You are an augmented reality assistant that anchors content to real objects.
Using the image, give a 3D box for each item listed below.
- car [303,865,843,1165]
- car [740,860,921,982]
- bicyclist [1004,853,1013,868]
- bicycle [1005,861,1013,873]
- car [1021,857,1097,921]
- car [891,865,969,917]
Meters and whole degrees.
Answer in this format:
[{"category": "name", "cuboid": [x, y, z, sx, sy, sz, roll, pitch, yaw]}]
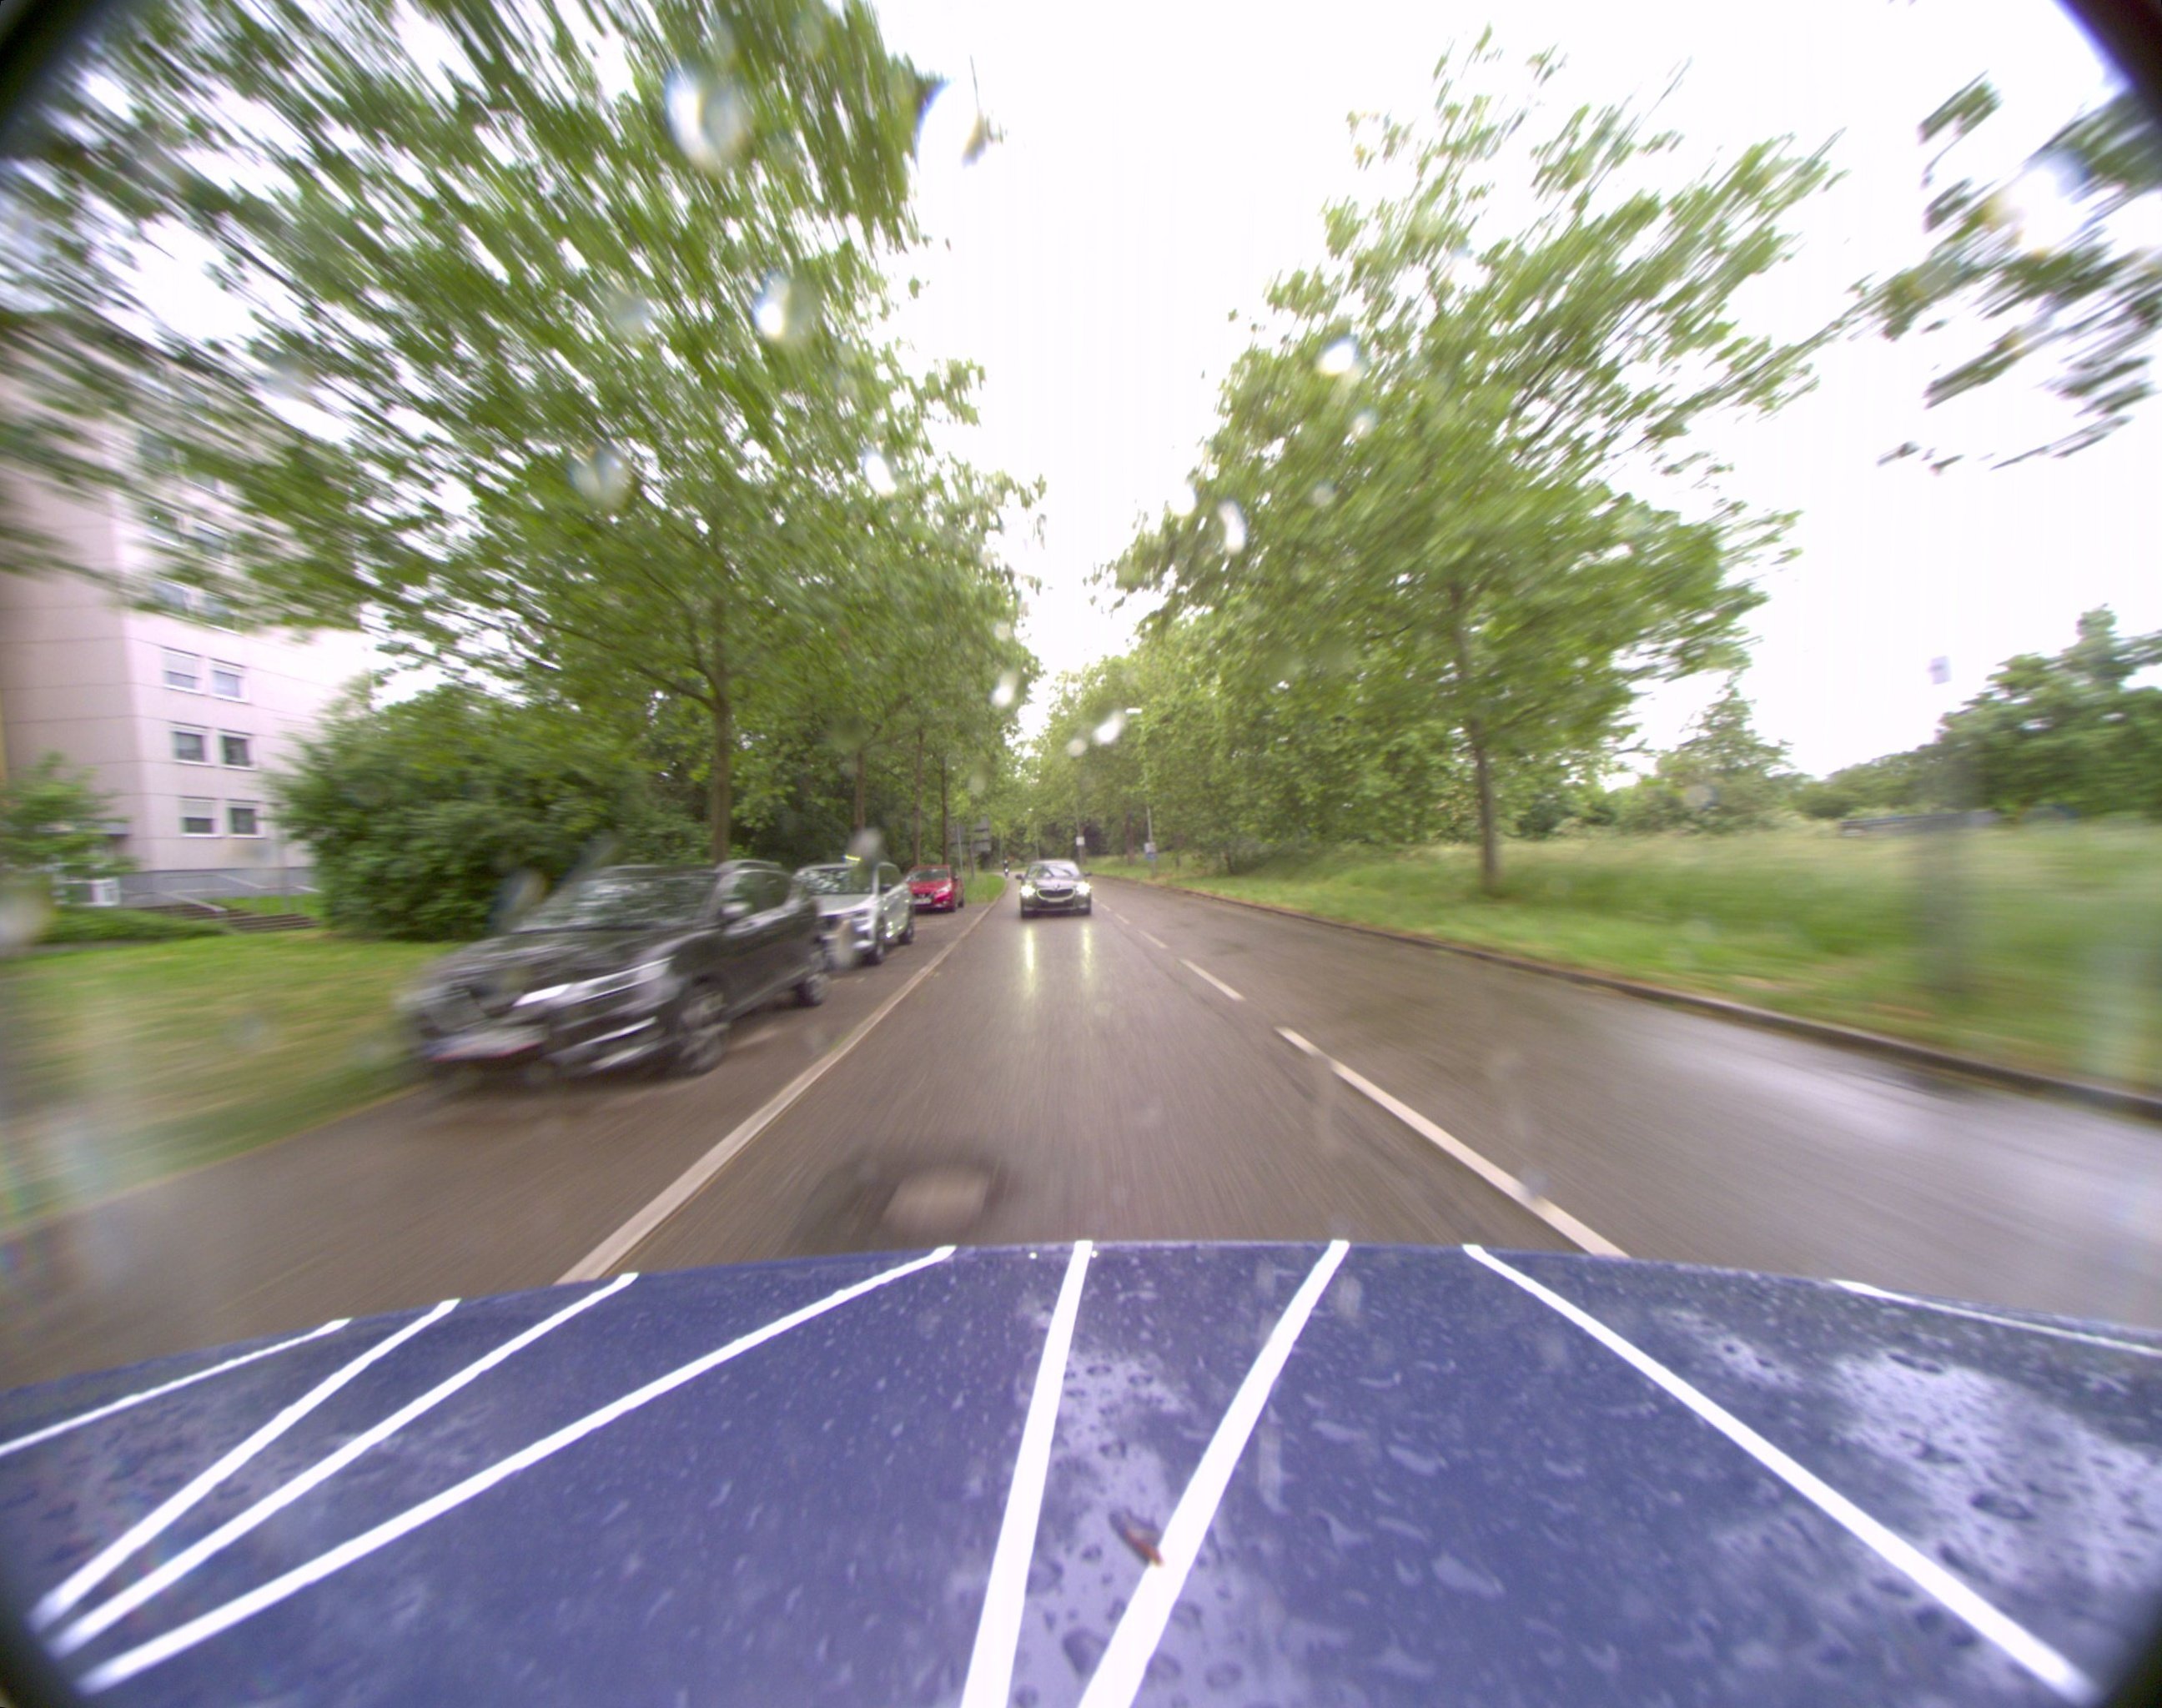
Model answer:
[{"category": "car", "cuboid": [-3.667, 0.981, 6.663, 1.806, 1.592, 4.370, -3, 0, -2]}, {"category": "car", "cuboid": [-3.948, 0.950, 12.746, 1.733, 1.582, 4.251, -2, 0, -3]}, {"category": "bicyclist", "cuboid": [-7.260, 0.653, 75.865, 0.698, 1.489, 0.799, -5, 1, -13]}, {"category": "bicycle", "cuboid": [-7.209, 1.313, 75.906, 0.454, 1.127, 1.831, -6, 1, -13]}, {"category": "car", "cuboid": [-0.712, 0.926, 21.854, 1.844, 1.485, 4.900, -4, 0, -4]}, {"category": "car", "cuboid": [-4.621, 1.085, 23.742, 1.802, 1.364, 3.743, -3, 0, -3]}]
